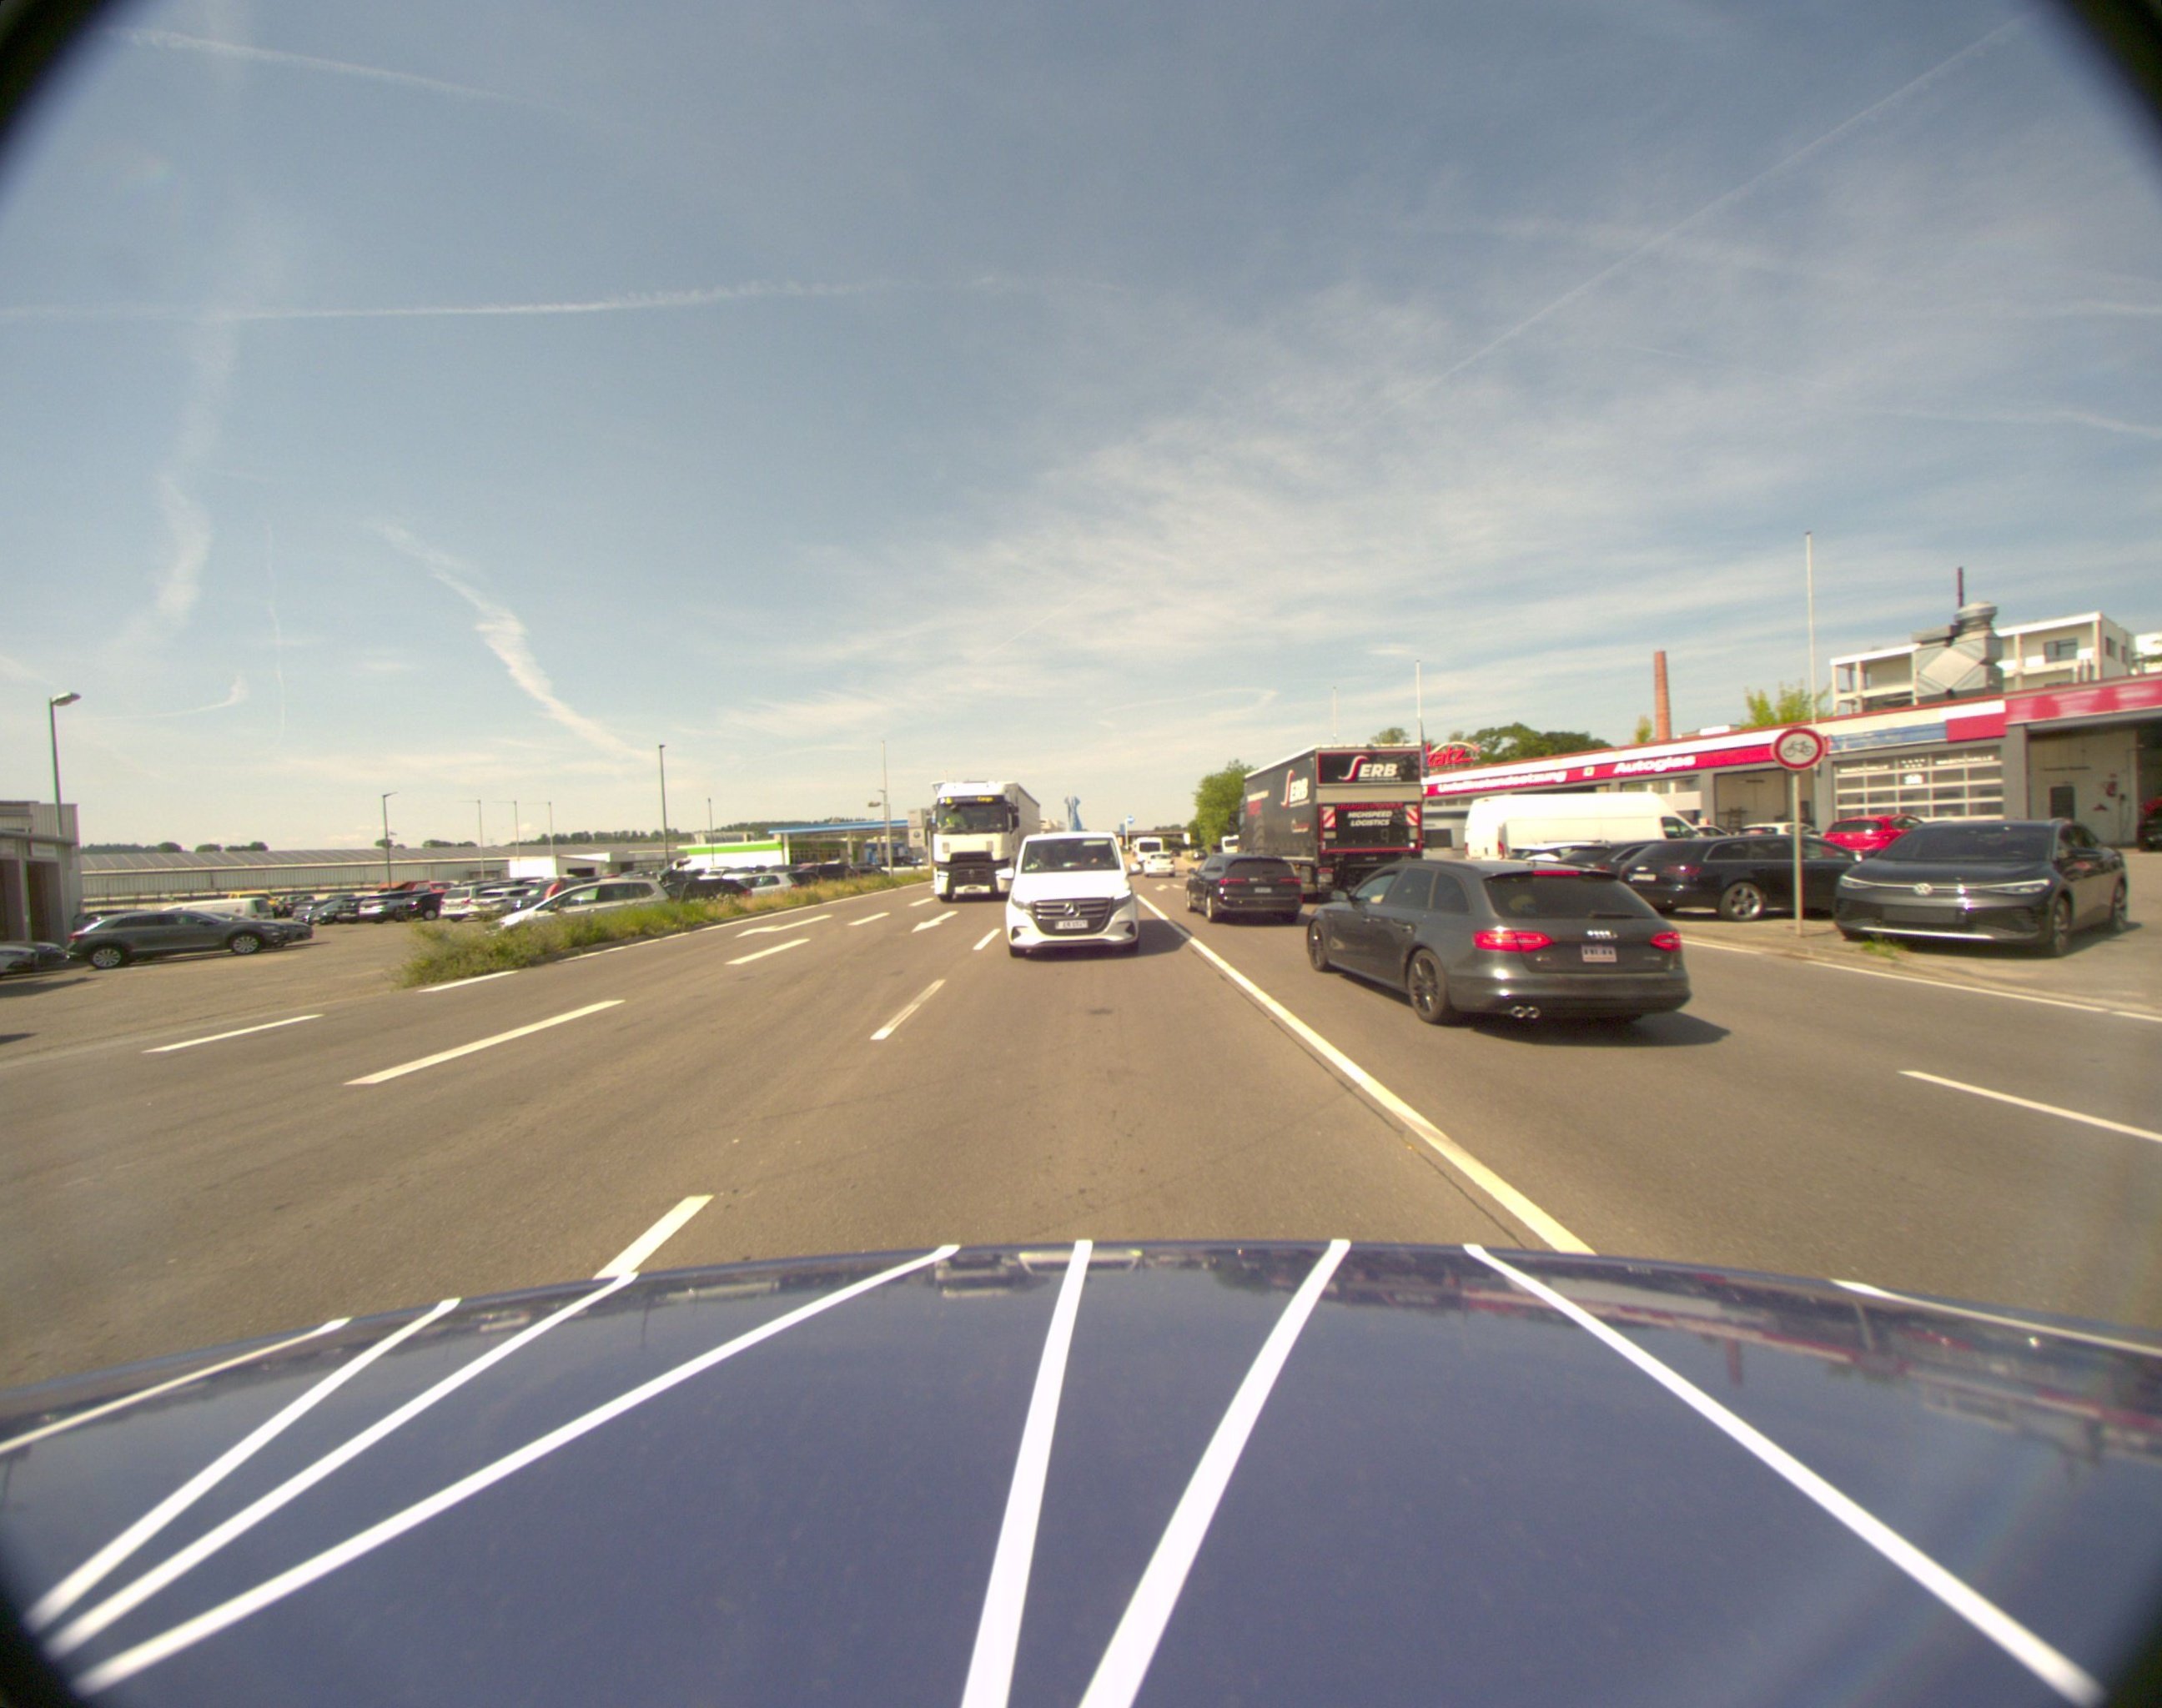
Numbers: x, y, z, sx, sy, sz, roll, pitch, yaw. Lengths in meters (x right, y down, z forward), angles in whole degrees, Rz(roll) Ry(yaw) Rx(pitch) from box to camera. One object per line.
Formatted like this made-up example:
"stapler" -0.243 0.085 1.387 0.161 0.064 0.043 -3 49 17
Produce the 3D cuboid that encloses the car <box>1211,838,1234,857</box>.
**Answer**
"car" 18.150 -0.813 97.704 2.438 2.250 5.341 -3 0 5

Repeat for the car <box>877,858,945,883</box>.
"car" -12.397 1.181 55.419 4.543 1.645 1.772 -2 1 -25

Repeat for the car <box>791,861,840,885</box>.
"car" -20.440 1.434 58.776 1.774 1.571 4.539 -2 1 6

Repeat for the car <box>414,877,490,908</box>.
"car" -42.746 2.599 51.653 4.528 1.644 2.072 -5 -1 24

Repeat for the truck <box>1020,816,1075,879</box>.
"truck" -2.174 -0.461 53.008 2.646 3.964 9.241 -2 1 4

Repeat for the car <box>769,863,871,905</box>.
"car" -11.795 1.300 34.340 4.006 1.645 1.772 -2 1 -32

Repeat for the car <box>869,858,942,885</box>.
"car" -12.140 1.198 52.606 4.543 1.645 1.772 -2 1 -26

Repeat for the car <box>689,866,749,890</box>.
"car" -25.753 1.683 54.286 1.689 1.517 4.539 -2 1 6

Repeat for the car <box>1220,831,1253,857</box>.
"car" 16.553 -1.110 80.440 2.436 2.529 6.049 -3 0 20

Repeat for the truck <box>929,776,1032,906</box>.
"truck" -3.313 -0.439 26.642 2.647 3.964 6.041 -2 1 0

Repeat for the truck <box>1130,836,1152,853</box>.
"truck" 10.110 -1.638 127.617 2.438 2.820 6.049 -2 1 18

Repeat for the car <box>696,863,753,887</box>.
"car" -28.006 1.643 59.852 1.773 1.645 4.541 -2 1 9

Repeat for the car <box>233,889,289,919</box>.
"car" -58.405 3.501 54.111 4.148 1.920 2.215 -1 1 37

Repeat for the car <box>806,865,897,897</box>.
"car" -12.798 1.468 42.446 4.545 1.571 1.772 -2 1 -31

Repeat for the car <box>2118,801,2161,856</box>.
"car" 33.625 -0.870 22.599 4.104 1.553 1.865 -4 1 -14

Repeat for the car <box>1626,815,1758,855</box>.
"car" 27.724 -0.813 34.690 1.876 1.644 4.464 -3 1 -13

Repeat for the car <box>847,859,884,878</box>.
"car" -19.789 1.316 69.896 1.774 1.571 4.149 -2 1 6

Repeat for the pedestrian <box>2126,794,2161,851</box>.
"pedestrian" 33.716 -0.996 23.873 0.867 1.717 0.742 -4 2 -16

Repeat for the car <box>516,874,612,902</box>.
"car" -31.135 2.012 45.916 1.819 1.423 4.491 -2 1 22

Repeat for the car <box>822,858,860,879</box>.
"car" -22.138 1.322 70.294 1.712 1.703 4.261 -2 1 6

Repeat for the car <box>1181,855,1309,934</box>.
"car" 3.391 0.765 16.513 1.716 1.435 4.377 0 1 -2

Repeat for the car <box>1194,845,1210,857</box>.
"car" 15.006 -0.385 94.188 1.827 1.517 4.461 0 0 7

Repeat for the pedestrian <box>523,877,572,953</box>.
"pedestrian" -14.126 1.588 20.144 0.990 1.900 0.742 -2 1 -34

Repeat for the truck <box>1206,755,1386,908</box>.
"truck" 6.549 -0.638 25.220 2.718 3.975 9.973 -2 1 -2

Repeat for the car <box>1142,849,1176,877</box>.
"car" 4.493 0.492 44.197 1.657 1.546 4.000 0 1 1

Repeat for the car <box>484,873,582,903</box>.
"car" -33.558 2.045 46.652 1.819 1.574 4.544 -2 1 22

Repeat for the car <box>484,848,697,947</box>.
"car" -12.376 1.015 19.509 4.355 2.200 1.759 -2 1 -29

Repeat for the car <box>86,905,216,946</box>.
"car" -47.968 3.670 39.280 3.913 1.720 1.982 -2 1 -7

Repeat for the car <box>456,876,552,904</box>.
"car" -36.917 2.297 48.771 1.819 1.466 4.544 -2 1 22

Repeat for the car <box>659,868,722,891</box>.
"car" -28.056 1.795 54.711 1.774 1.433 4.539 -2 1 6

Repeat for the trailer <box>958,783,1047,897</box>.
"trailer" -3.228 -0.583 34.340 2.613 4.203 11.291 -2 1 1
